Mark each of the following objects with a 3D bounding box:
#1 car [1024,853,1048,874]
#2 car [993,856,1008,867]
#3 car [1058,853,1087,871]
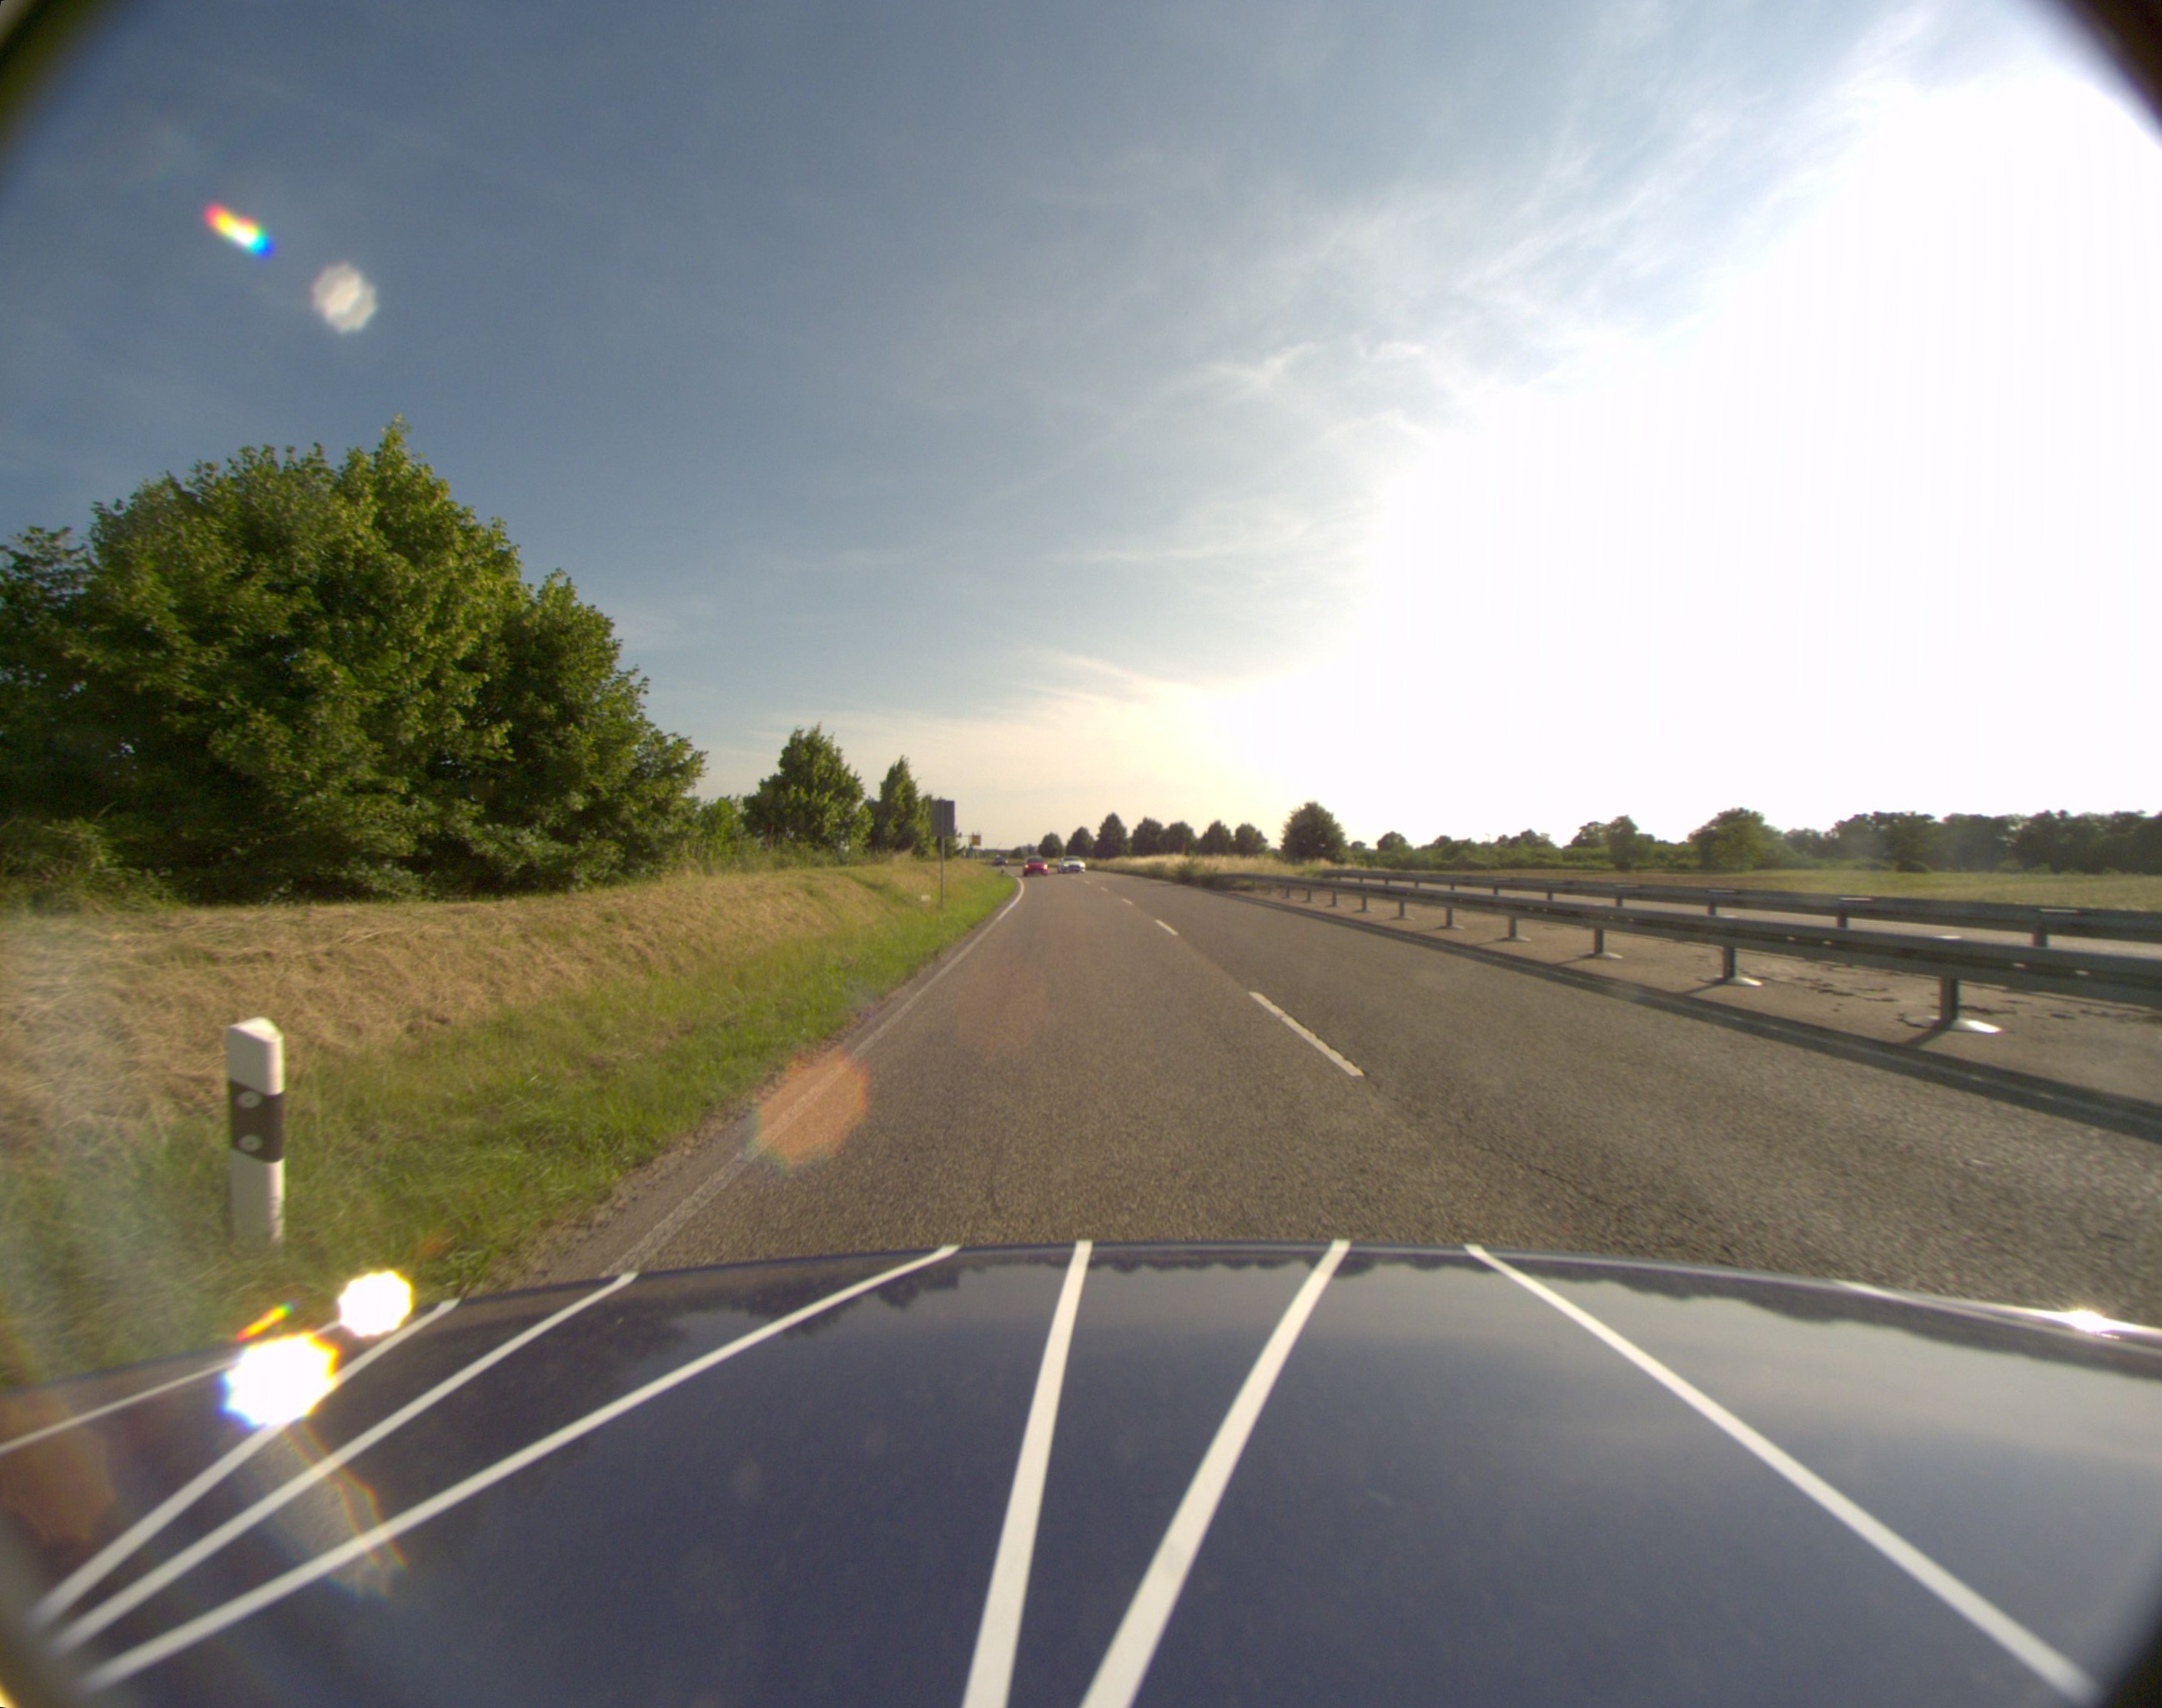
[{"bbox_3d":[-3.504,0.710,58.527,1.666,1.455,3.952,-1,1,-6],"label":"car"},{"bbox_3d":[-11.958,1.107,112.539,1.753,1.521,3.995,-1,1,-13],"label":"car"},{"bbox_3d":[-0.722,0.645,64.088,1.877,1.390,4.201,-1,1,-8],"label":"car"}]
